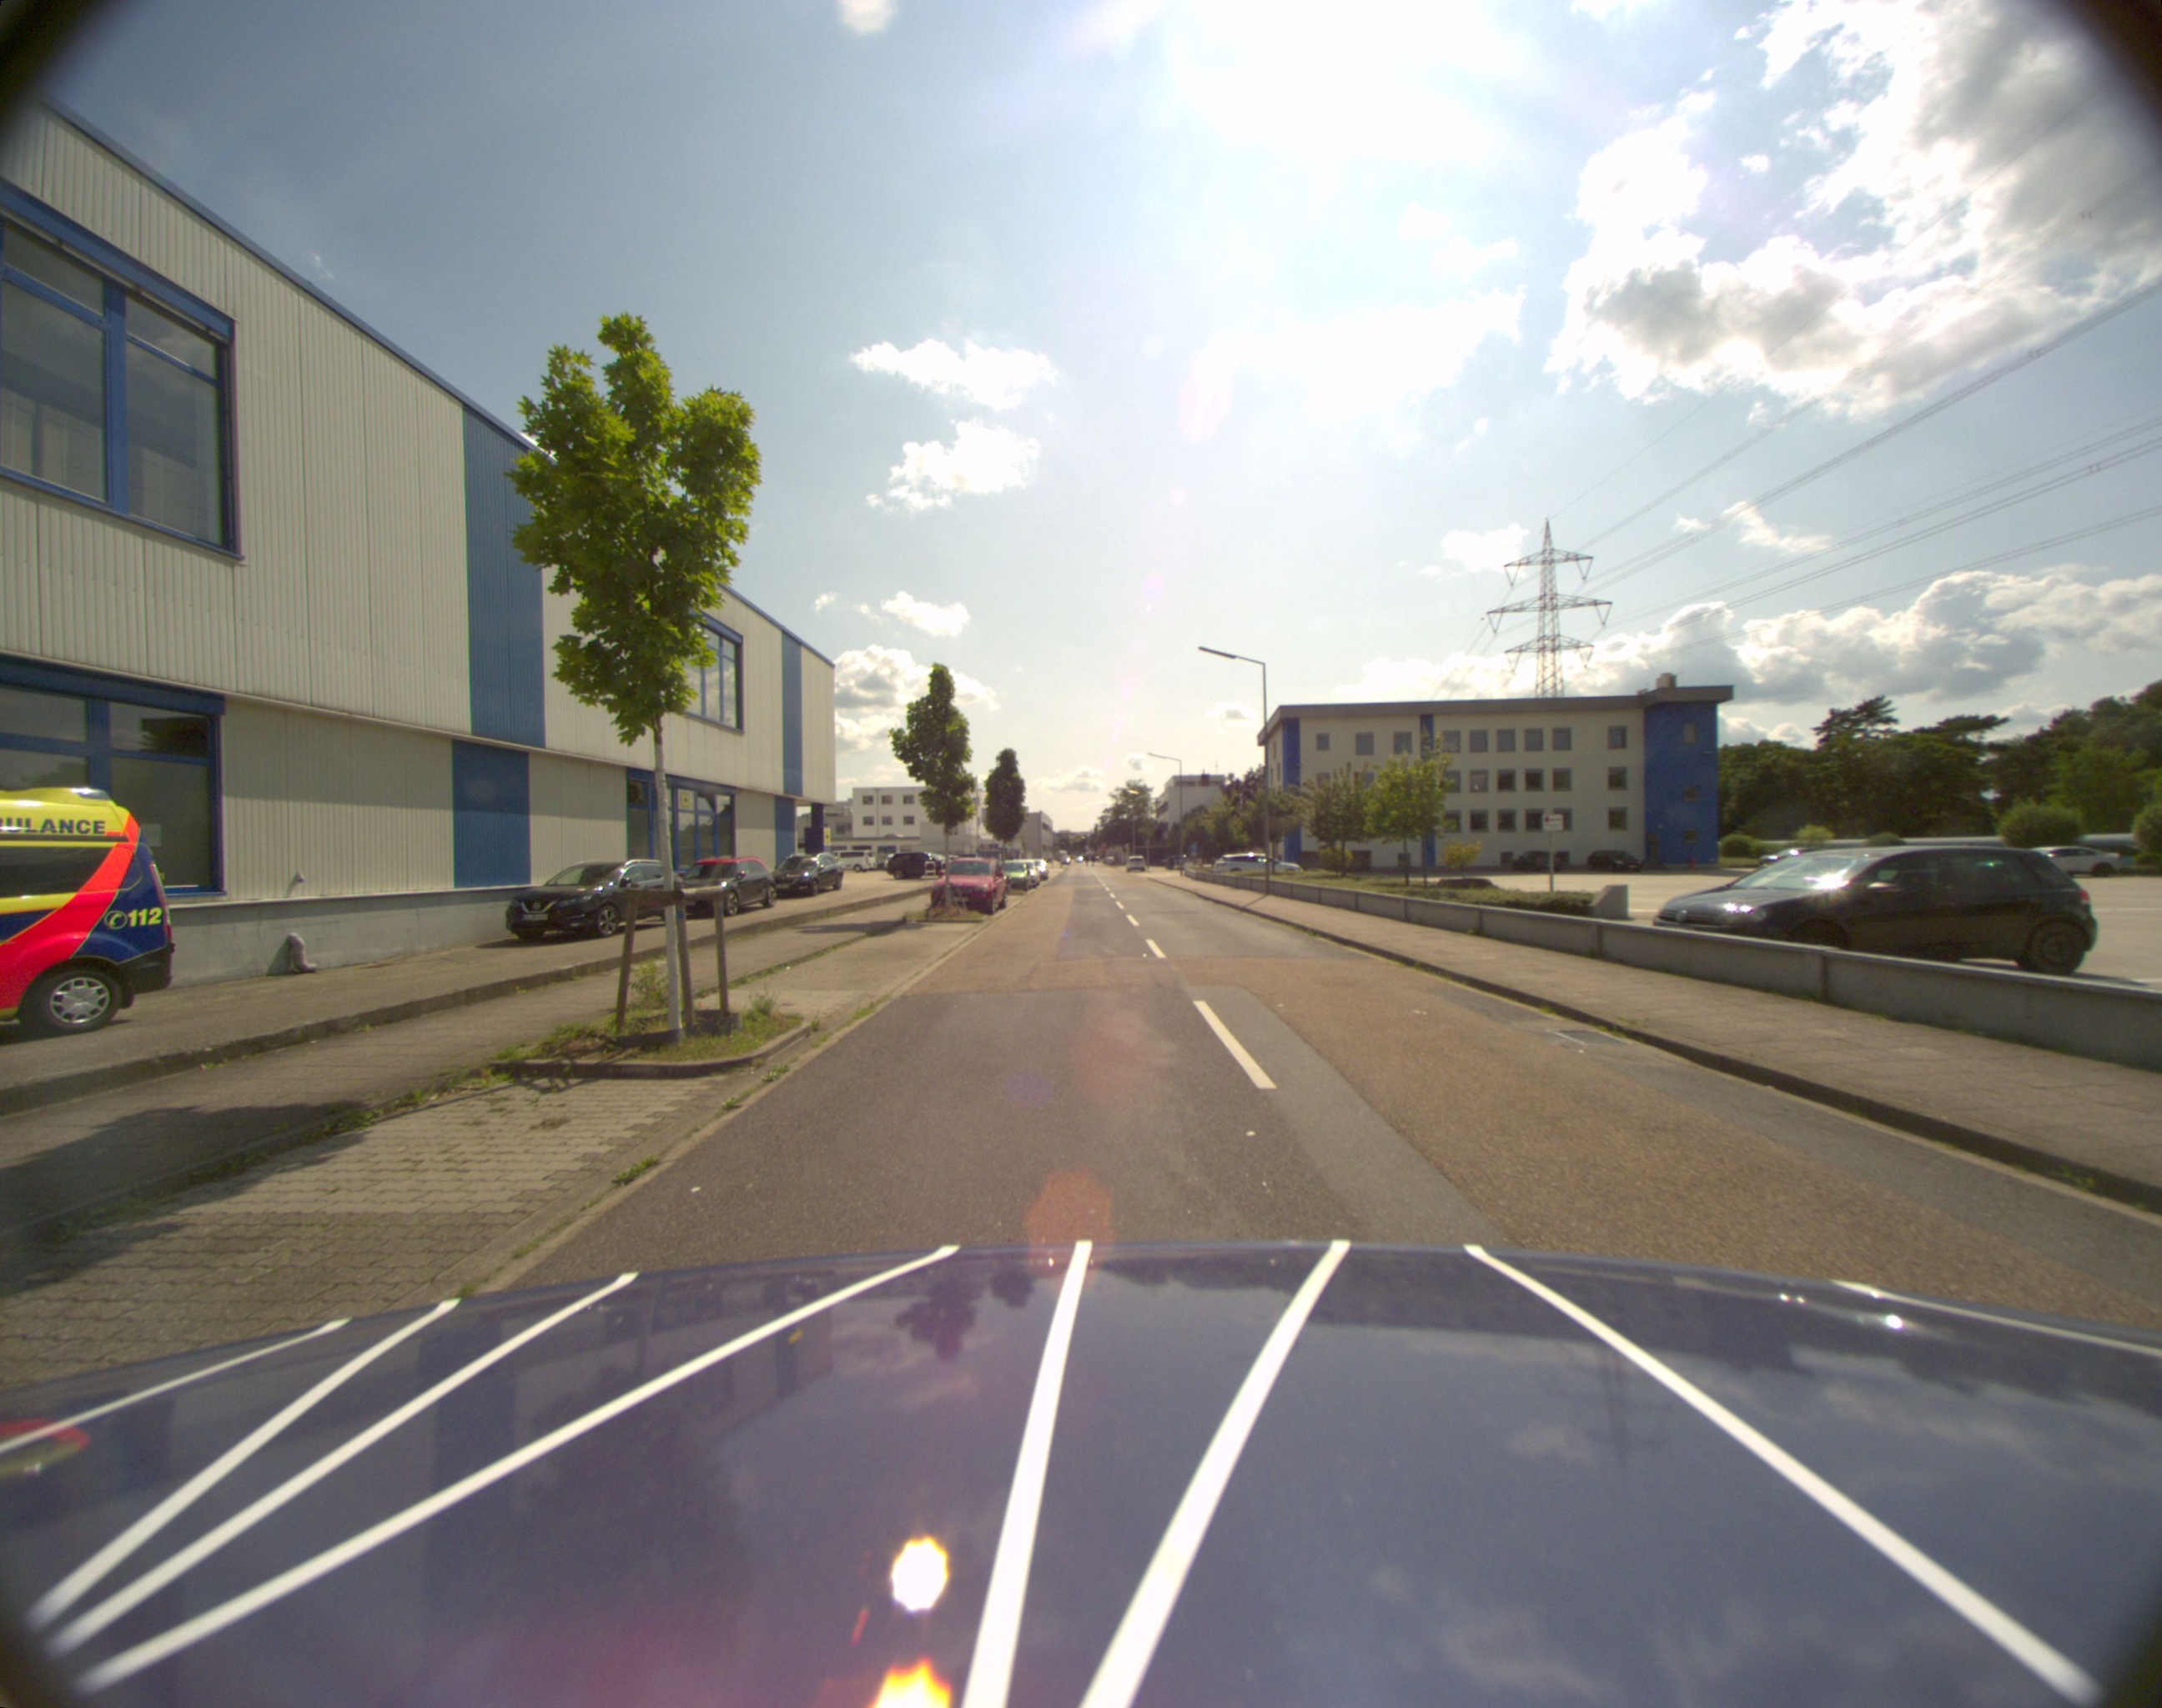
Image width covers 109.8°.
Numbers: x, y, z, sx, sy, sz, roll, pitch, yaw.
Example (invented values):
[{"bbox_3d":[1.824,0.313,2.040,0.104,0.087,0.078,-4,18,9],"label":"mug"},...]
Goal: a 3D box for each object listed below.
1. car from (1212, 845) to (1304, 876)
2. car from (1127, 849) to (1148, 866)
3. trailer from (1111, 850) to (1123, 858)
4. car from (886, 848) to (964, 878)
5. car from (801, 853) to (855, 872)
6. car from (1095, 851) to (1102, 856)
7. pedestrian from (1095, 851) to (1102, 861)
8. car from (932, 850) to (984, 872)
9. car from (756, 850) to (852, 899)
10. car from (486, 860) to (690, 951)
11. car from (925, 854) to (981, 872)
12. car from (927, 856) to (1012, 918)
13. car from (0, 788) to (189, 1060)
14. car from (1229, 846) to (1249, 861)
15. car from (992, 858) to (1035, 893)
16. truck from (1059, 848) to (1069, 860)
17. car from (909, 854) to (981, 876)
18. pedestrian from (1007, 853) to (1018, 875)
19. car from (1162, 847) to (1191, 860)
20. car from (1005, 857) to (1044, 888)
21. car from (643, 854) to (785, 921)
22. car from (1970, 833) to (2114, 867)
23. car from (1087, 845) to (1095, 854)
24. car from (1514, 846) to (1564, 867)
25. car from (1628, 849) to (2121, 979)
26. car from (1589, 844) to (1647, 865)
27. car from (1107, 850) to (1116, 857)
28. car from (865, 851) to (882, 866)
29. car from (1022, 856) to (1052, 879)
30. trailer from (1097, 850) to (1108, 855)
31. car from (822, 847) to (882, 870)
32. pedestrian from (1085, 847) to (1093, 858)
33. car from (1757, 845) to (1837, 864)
[{"bbox_3d":[9.986,0.341,43.198,4.766,1.593,2.000,-1,1,1],"label":"car"},{"bbox_3d":[6.004,0.378,81.350,1.872,1.698,4.752,-2,1,0],"label":"car"},{"bbox_3d":[6.470,-0.018,136.530,1.771,1.431,4.335,-3,1,0],"label":"trailer"},{"bbox_3d":[-8.979,0.498,44.027,4.095,1.676,2.000,-1,1,-1],"label":"car"},{"bbox_3d":[-21.196,0.701,63.813,3.891,1.477,1.864,1,1,4],"label":"car"},{"bbox_3d":[4.831,-0.139,214.064,1.714,1.459,4.628,-3,1,-1],"label":"car"},{"bbox_3d":[2.910,0.332,127.658,0.860,1.797,1.003,0,1,-22],"label":"pedestrian"},{"bbox_3d":[-9.944,0.566,61.545,3.816,1.670,1.791,-1,1,0],"label":"car"},{"bbox_3d":[-10.363,0.699,28.816,1.832,1.504,4.638,-1,3,1],"label":"car"},{"bbox_3d":[-10.652,1.014,16.857,1.718,1.642,4.214,-1,1,1],"label":"car"},{"bbox_3d":[-9.930,0.705,59.136,3.997,1.412,2.000,0,0,1],"label":"car"},{"bbox_3d":[-3.311,0.923,23.439,1.759,1.641,4.677,-1,1,2],"label":"car"},{"bbox_3d":[-10.717,0.663,5.604,1.928,2.449,5.259,-1,1,1],"label":"car"},{"bbox_3d":[18.483,-0.099,89.219,1.828,1.627,4.846,0,1,6],"label":"car"},{"bbox_3d":[-3.190,0.981,36.716,1.673,1.512,3.994,-1,1,0],"label":"car"},{"bbox_3d":[-4.738,-0.027,213.467,2.607,3.207,8.076,-3,1,0],"label":"truck"},{"bbox_3d":[-8.730,0.694,49.075,4.290,1.412,2.000,0,0,1],"label":"car"},{"bbox_3d":[-5.526,0.793,61.528,0.771,1.746,0.787,1,1,0],"label":"pedestrian"},{"bbox_3d":[12.695,-0.109,101.024,3.657,1.698,1.878,-1,1,0],"label":"car"},{"bbox_3d":[-3.074,0.974,42.214,1.840,1.512,4.460,-1,1,0],"label":"car"},{"bbox_3d":[-10.488,0.883,22.131,1.998,1.648,4.288,-1,2,1],"label":"car"},{"bbox_3d":[44.254,-0.171,35.088,3.819,1.465,1.805,-1,1,14],"label":"car"},{"bbox_3d":[3.238,-1.447,245.998,2.079,2.527,5.822,-3,1,-2],"label":"car"},{"bbox_3d":[31.977,0.145,53.152,1.565,1.368,3.681,-1,0,4],"label":"car"},{"bbox_3d":[9.192,0.648,9.090,3.997,1.368,1.803,-1,0,0],"label":"car"},{"bbox_3d":[36.656,0.006,51.991,1.565,1.368,3.681,-1,1,4],"label":"car"},{"bbox_3d":[6.098,-0.110,152.964,1.677,1.447,4.513,-2,1,0],"label":"car"},{"bbox_3d":[-22.192,0.483,81.306,1.558,1.513,3.993,0,0,-18],"label":"car"},{"bbox_3d":[-3.105,0.955,54.795,1.872,1.512,4.597,-1,1,0],"label":"car"},{"bbox_3d":[5.470,-0.349,195.500,2.457,1.157,6.051,-2,1,-1],"label":"trailer"},{"bbox_3d":[-21.015,0.411,69.905,4.690,1.925,2.276,-1,0,2],"label":"car"},{"bbox_3d":[1.363,-0.270,127.575,0.994,1.940,1.089,0,1,-22],"label":"pedestrian"},{"bbox_3d":[48.764,0.052,51.800,3.604,1.244,1.805,-1,0,9],"label":"car"}]
